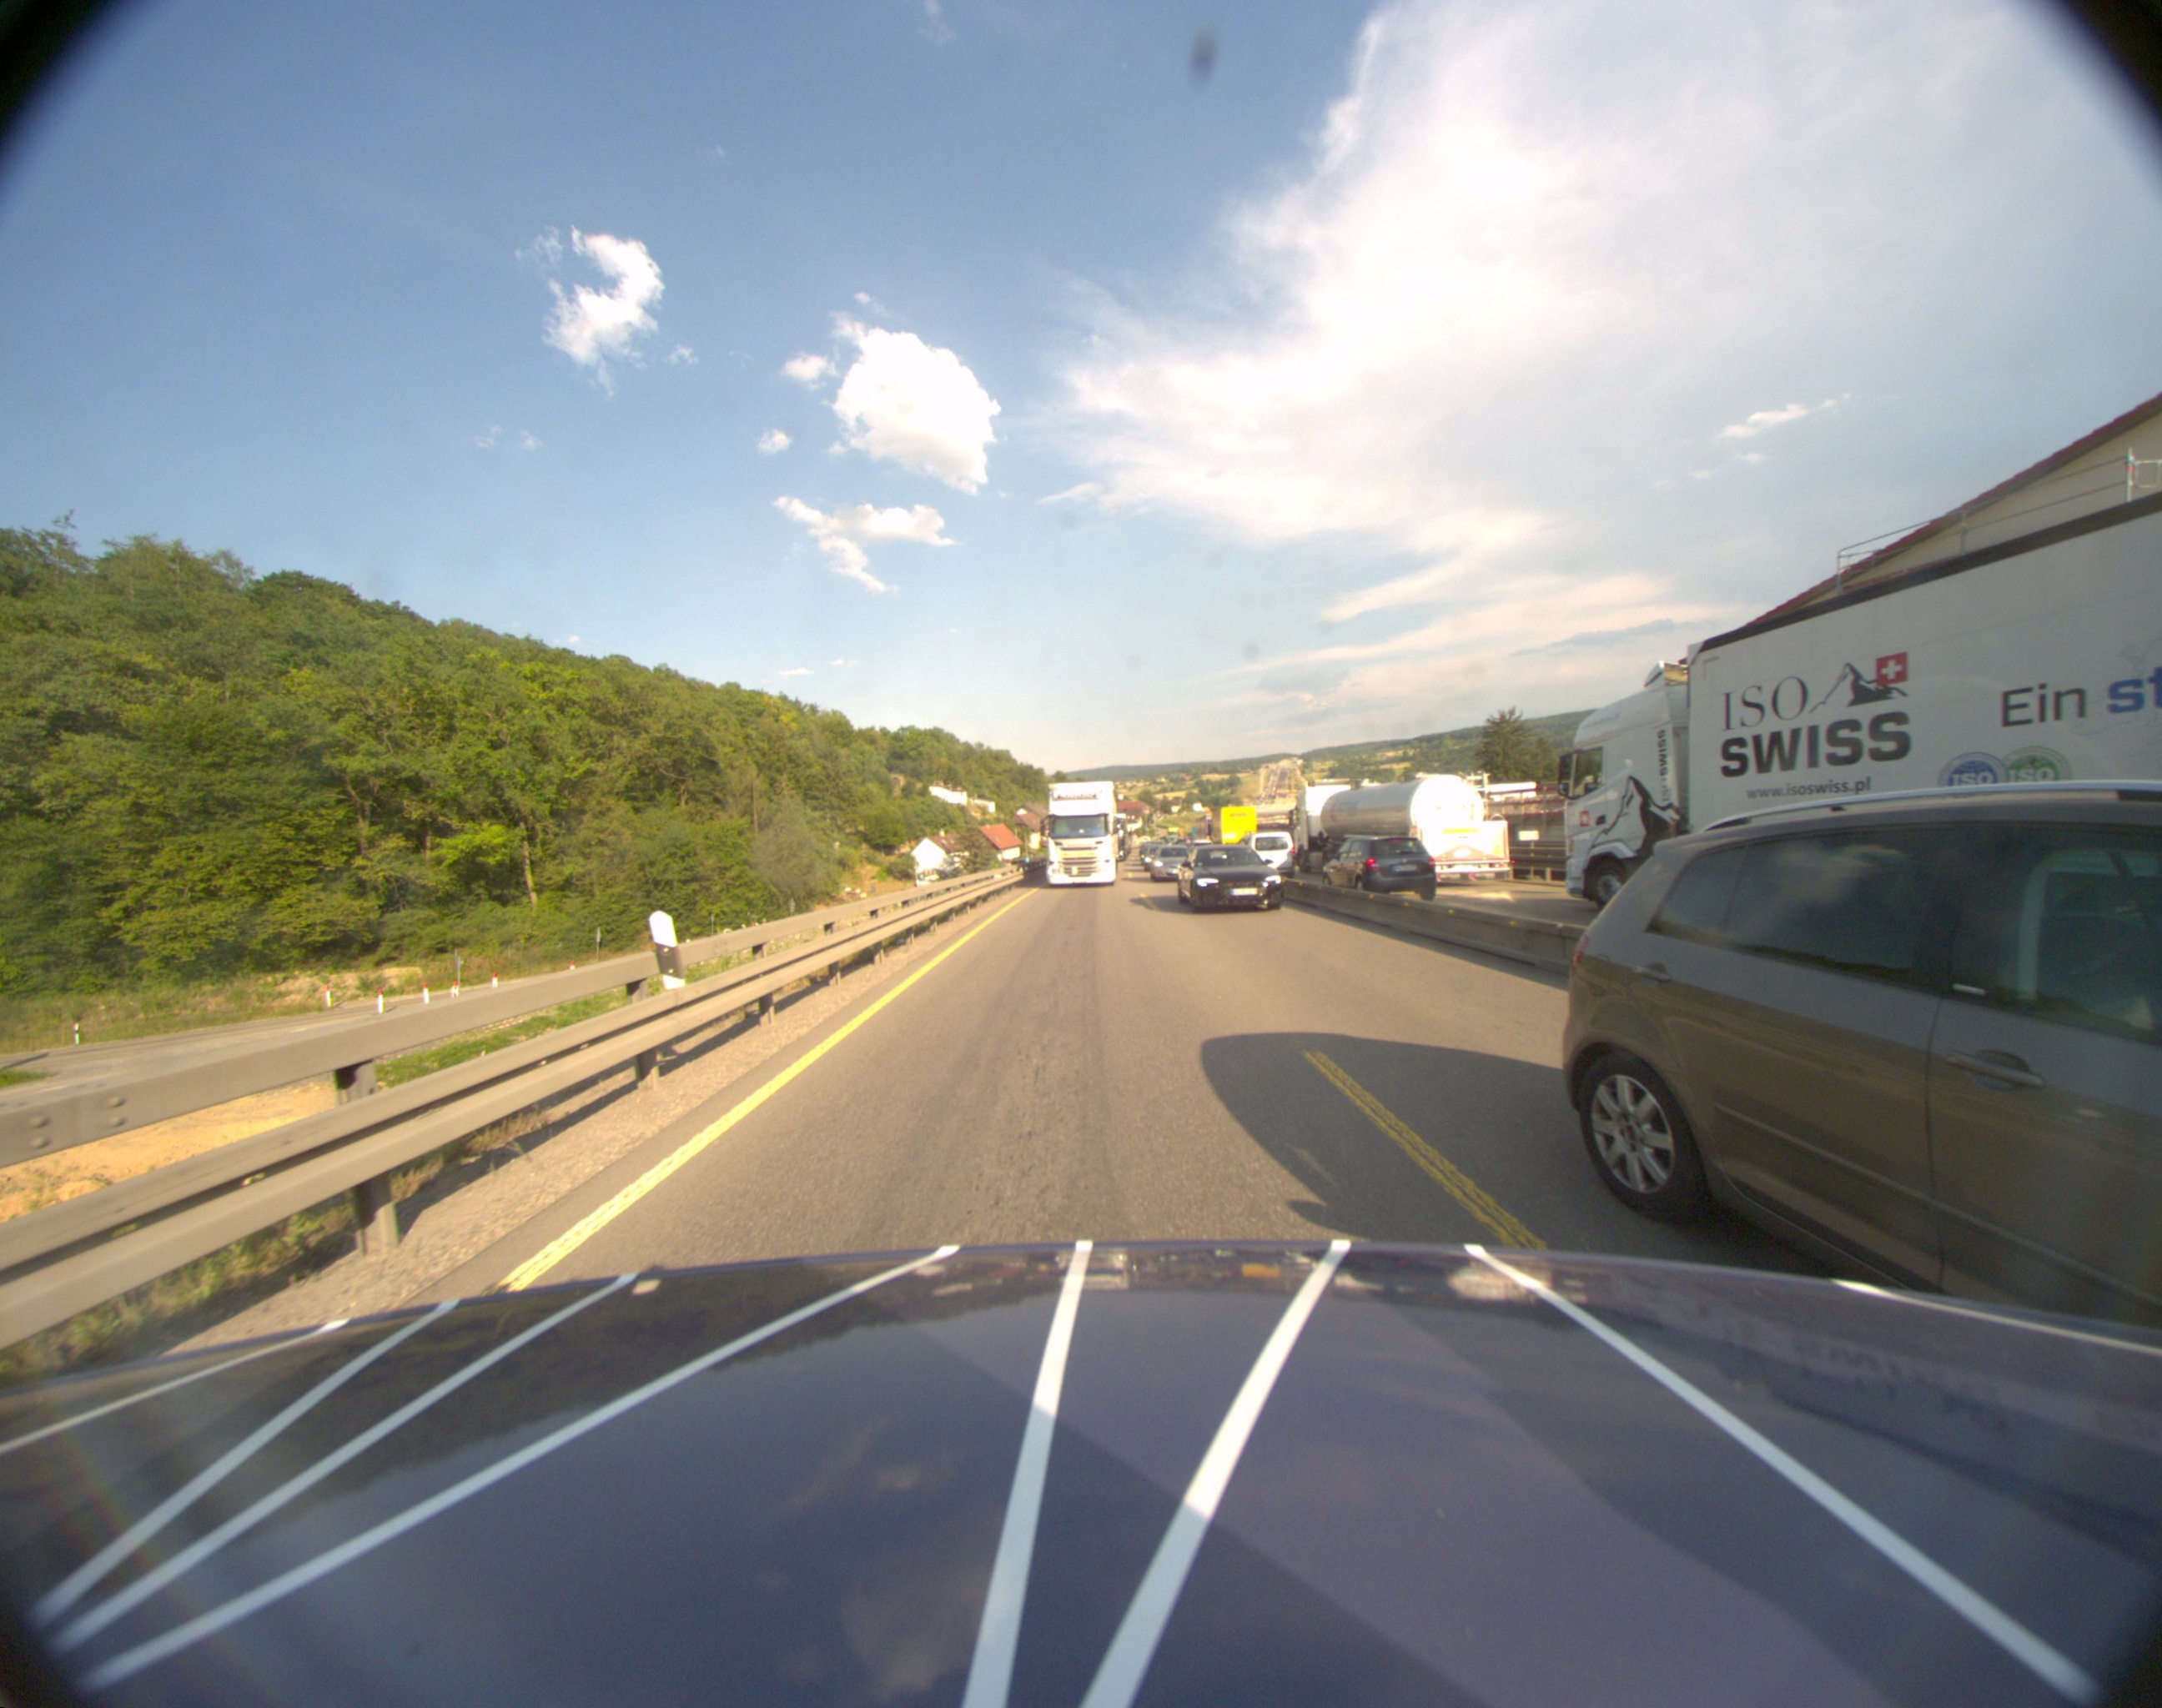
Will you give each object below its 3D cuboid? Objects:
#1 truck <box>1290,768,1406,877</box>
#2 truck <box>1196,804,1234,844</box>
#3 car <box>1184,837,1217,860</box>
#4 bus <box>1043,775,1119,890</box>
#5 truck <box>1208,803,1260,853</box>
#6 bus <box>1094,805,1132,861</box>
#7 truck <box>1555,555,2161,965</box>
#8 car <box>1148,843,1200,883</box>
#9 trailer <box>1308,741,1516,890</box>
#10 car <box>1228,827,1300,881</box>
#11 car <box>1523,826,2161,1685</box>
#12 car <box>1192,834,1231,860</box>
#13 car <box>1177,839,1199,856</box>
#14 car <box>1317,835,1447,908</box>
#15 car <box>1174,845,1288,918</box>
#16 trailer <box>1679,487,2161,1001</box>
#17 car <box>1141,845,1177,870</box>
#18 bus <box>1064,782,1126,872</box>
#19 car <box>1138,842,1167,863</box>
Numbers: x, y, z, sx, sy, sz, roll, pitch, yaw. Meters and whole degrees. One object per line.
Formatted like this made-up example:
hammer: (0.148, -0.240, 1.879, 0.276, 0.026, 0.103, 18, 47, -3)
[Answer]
truck: (10.564, -1.222, 30.733, 2.605, 3.865, 6.202, -2, 1, 2)
truck: (13.942, -3.068, 79.793, 2.899, 3.862, 9.488, -2, 2, 4)
car: (8.338, -0.409, 53.211, 1.729, 1.521, 3.999, -3, 1, 1)
bus: (0.233, -0.908, 33.285, 2.635, 4.077, 11.313, -2, 1, 2)
truck: (12.434, -2.111, 62.396, 2.899, 3.689, 9.488, -2, 2, 4)
bus: (2.903, -1.826, 68.843, 2.985, 4.553, 10.903, -2, 1, 2)
truck: (9.988, -0.996, 10.679, 2.851, 4.013, 6.100, -2, 1, 1)
car: (3.713, 0.324, 30.953, 1.698, 1.390, 4.000, -4, 0, 2)
trailer: (10.389, -1.119, 25.466, 2.603, 3.859, 10.576, -2, 1, 2)
car: (7.020, -0.045, 29.500, 1.867, 1.899, 3.999, -2, 1, 1)
car: (2.853, 0.752, 1.386, 1.688, 1.565, 4.098, -3, 1, 0)
car: (7.576, -0.432, 44.417, 1.798, 1.405, 4.000, 1, 2, 3)
car: (9.953, -0.635, 71.084, 1.758, 1.521, 4.000, -2, 2, 5)
car: (7.015, 0.343, 18.123, 1.662, 1.501, 3.689, -2, 1, 1)
car: (3.283, 0.532, 17.356, 1.867, 1.391, 3.999, -2, 1, 1)
trailer: (9.846, -0.851, 3.821, 2.864, 4.013, 13.968, -2, 1, 1)
car: (4.339, 0.167, 42.496, 1.627, 1.239, 3.999, -2, 1, 1)
bus: (0.902, -1.427, 44.234, 2.985, 4.553, 9.967, -2, 1, 2)
car: (4.976, -0.108, 53.319, 1.627, 1.316, 3.999, -2, 1, 1)
